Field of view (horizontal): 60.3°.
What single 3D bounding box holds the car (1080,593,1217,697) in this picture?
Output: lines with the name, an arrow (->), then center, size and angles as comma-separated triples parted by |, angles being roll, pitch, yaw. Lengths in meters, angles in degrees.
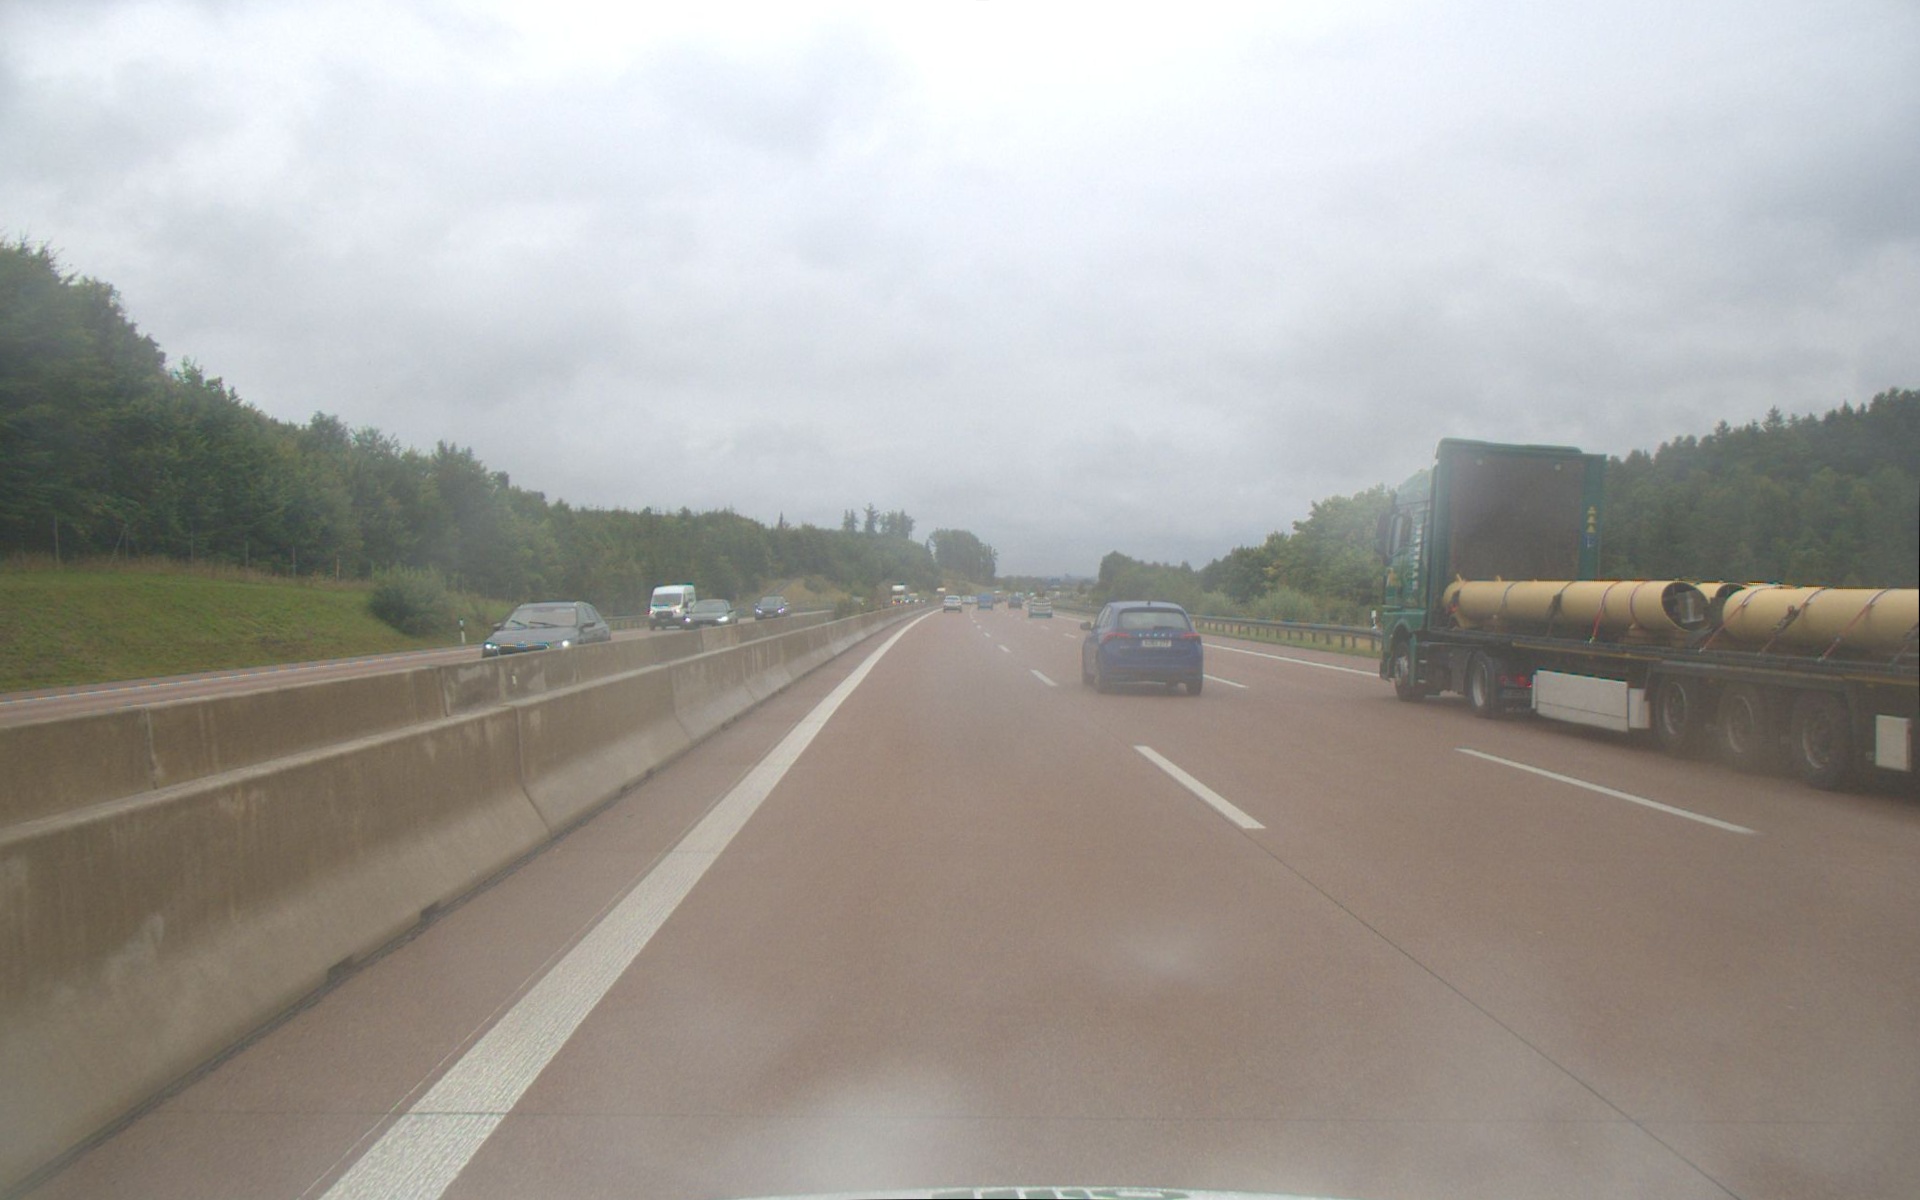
car -> 3.098, 0.743, 27.942 | 1.735, 1.591, 4.145 | 1, -1, -1

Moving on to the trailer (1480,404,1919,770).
trailer -> 8.465, -0.001, 16.381 | 2.823, 2.722, 11.394 | 1, -1, -1

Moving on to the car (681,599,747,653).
car -> -9.751, 1.048, 66.006 | 1.953, 2.049, 5.523 | 1, -1, -2

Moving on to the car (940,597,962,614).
car -> -0.889, 0.542, 159.488 | 1.837, 1.470, 4.873 | 1, -1, -4

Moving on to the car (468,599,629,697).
car -> -8.050, 0.919, 32.976 | 1.820, 1.737, 6.161 | 1, -1, -2

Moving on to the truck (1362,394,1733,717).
truck -> 8.301, -0.505, 24.450 | 2.838, 4.034, 6.986 | 1, -1, -1

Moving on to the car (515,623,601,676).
car -> -12.665, 1.536, 52.331 | 1.616, 1.414, 4.809 | -3, 0, -2

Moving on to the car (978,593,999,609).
car -> 3.347, 0.106, 197.601 | 2.275, 1.780, 4.875 | 1, -1, -1

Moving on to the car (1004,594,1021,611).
car -> 6.828, 0.339, 215.768 | 1.953, 2.049, 3.998 | 1, -1, -2

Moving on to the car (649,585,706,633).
car -> -16.397, 0.568, 96.432 | 2.178, 2.630, 6.254 | 1, -1, 0

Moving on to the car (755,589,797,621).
car -> -10.810, 0.290, 97.378 | 1.953, 1.859, 4.686 | 0, 0, 0

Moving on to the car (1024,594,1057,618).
car -> 6.280, 0.504, 129.575 | 2.275, 1.780, 4.875 | 1, -1, -1
